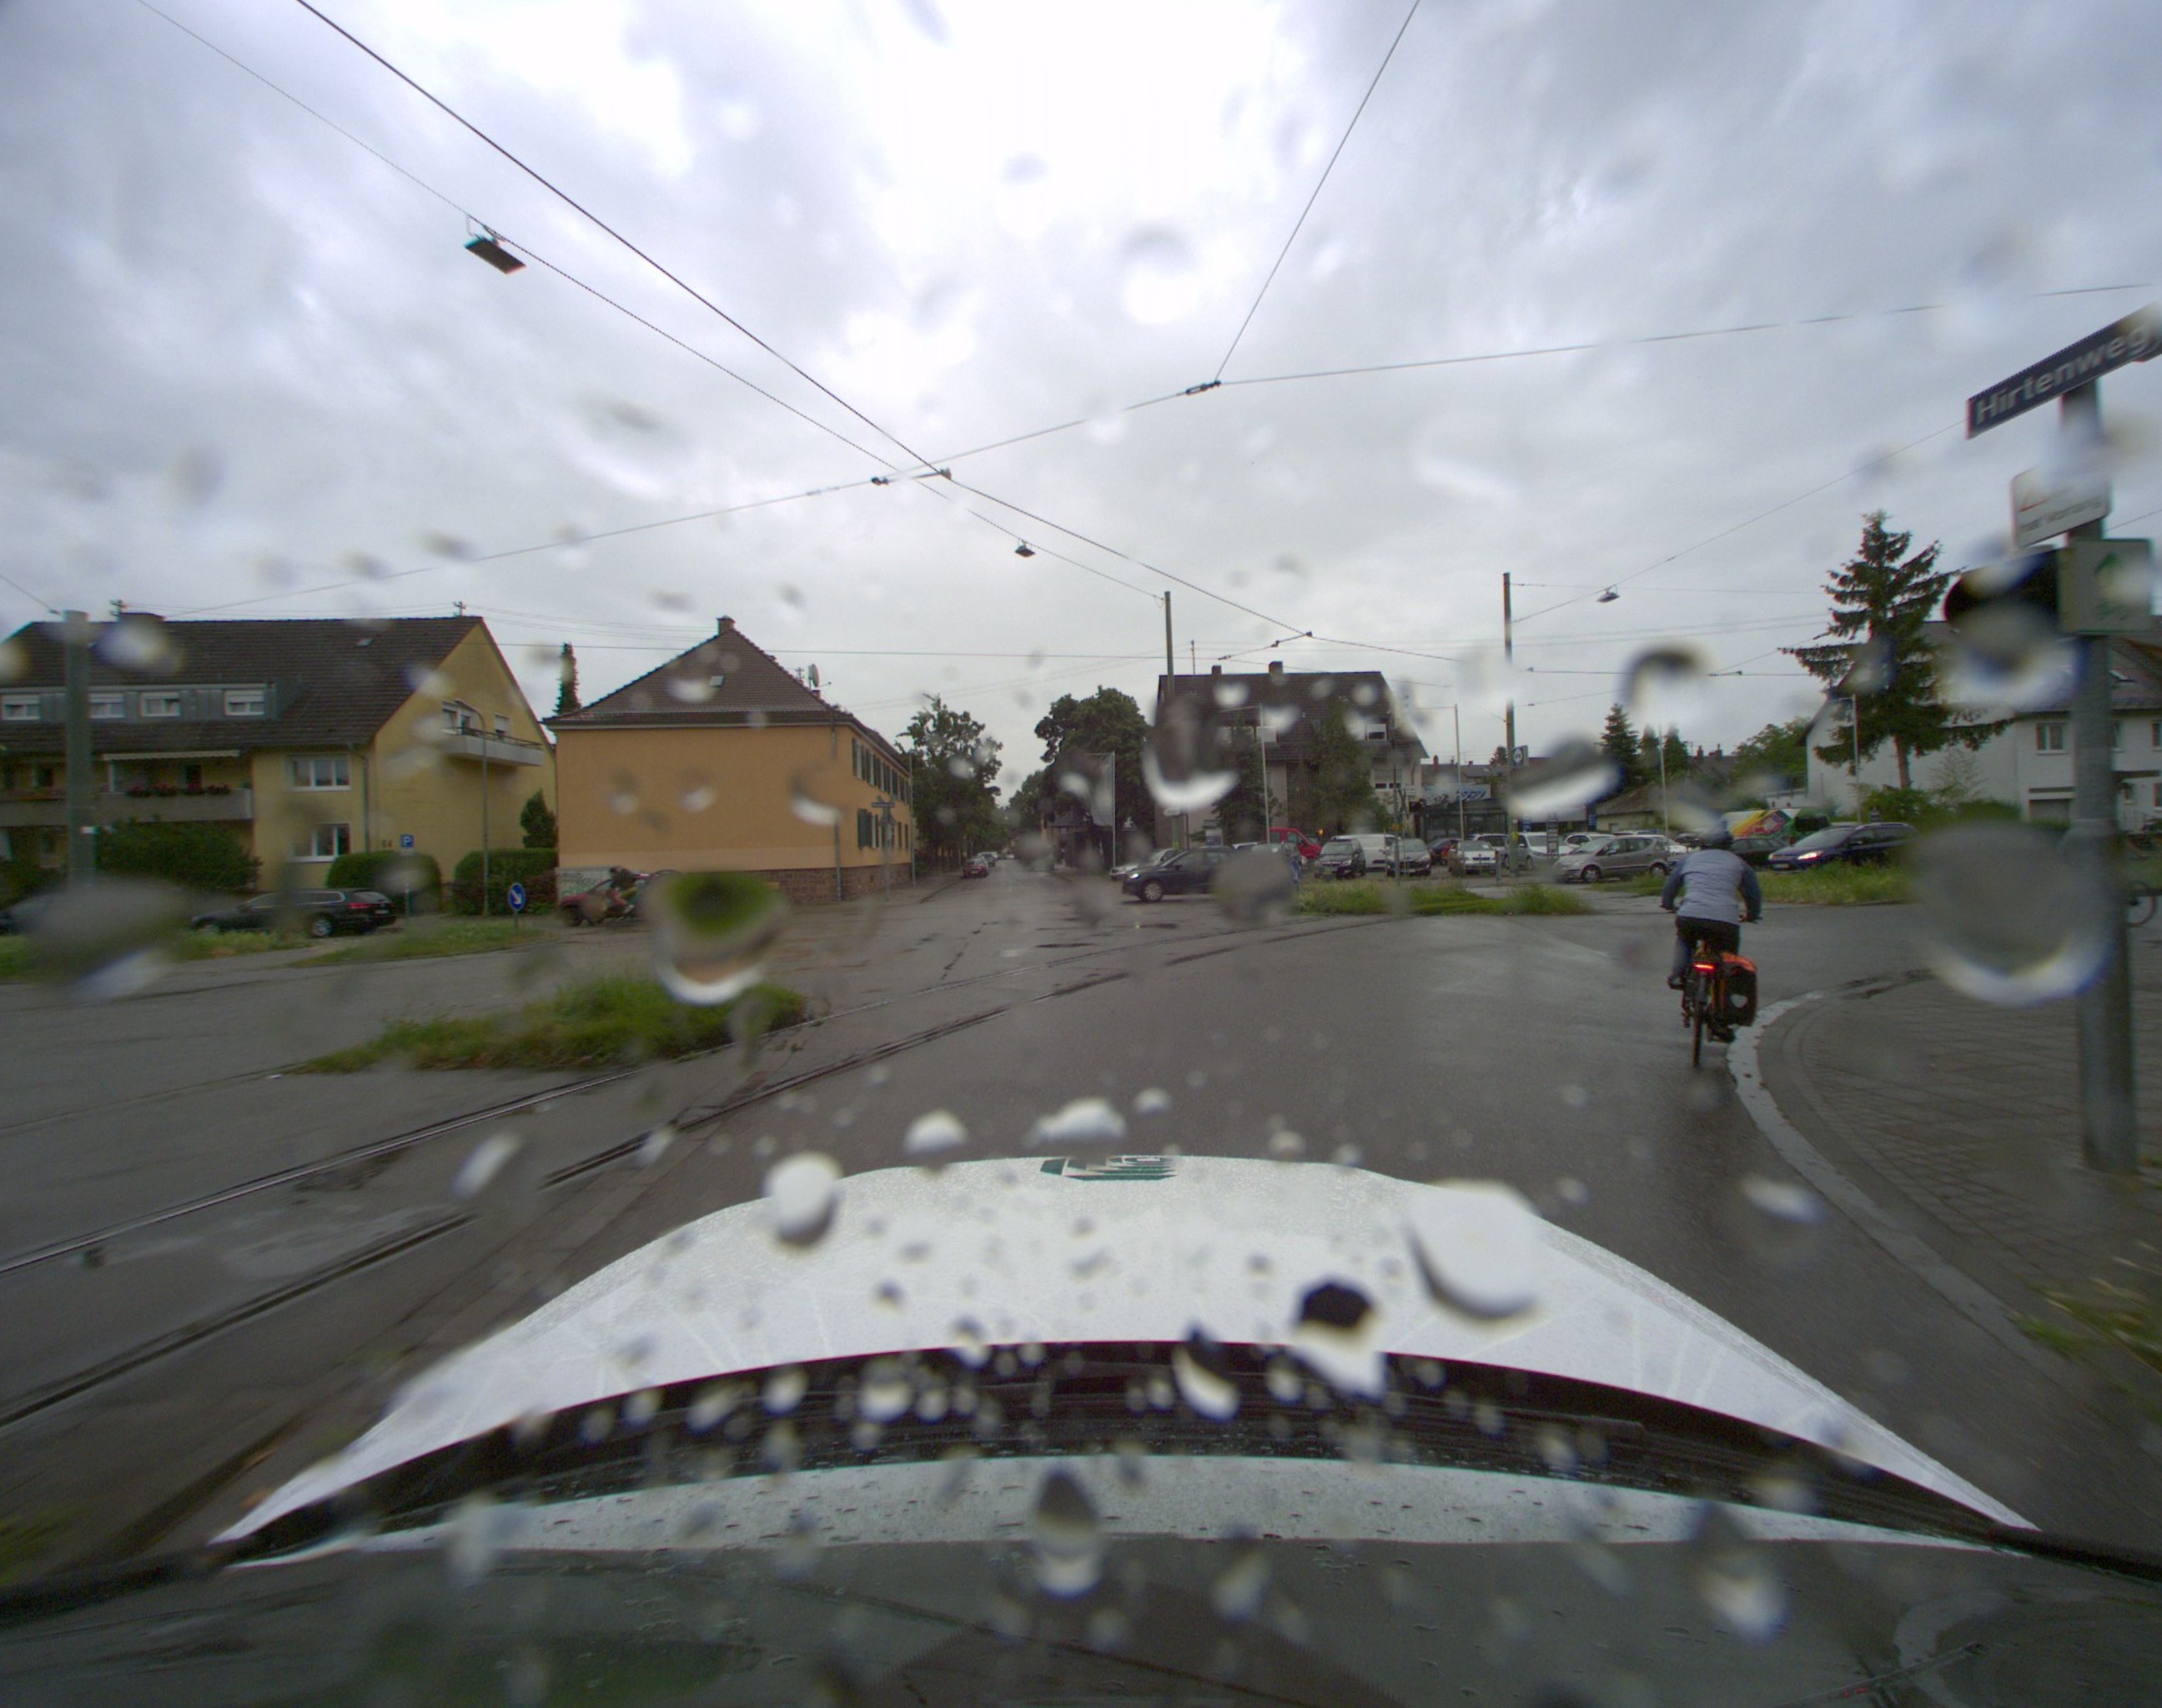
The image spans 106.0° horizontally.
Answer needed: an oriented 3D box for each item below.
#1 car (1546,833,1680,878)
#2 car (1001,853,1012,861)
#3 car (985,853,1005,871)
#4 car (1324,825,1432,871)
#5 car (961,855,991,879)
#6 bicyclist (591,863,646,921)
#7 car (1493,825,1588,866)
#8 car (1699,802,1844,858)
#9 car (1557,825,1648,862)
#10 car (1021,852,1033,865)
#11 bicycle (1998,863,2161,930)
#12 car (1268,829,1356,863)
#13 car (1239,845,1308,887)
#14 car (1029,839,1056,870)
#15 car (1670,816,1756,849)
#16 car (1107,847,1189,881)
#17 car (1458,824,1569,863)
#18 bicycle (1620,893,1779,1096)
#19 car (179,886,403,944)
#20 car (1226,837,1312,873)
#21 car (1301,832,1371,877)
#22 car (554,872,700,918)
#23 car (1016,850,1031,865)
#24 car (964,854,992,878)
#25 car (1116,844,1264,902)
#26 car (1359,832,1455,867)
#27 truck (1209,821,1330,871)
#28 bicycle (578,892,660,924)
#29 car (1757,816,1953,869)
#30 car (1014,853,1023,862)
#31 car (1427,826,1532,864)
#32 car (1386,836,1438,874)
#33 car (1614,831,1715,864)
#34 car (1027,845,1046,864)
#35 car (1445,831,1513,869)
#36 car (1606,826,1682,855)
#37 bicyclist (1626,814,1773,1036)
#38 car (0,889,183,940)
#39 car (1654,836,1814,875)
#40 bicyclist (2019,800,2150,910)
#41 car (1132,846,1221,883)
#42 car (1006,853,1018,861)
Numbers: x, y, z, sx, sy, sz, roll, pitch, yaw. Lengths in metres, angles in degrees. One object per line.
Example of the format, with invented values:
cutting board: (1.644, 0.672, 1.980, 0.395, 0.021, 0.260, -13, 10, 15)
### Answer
car: (18.368, 0.036, 28.206, 3.625, 1.504, 1.720, 0, 0, -4)
car: (-18.007, 0.730, 196.462, 1.834, 1.697, 4.005, 0, 0, -20)
car: (-9.815, 0.903, 93.108, 1.989, 2.013, 3.995, 0, 0, -3)
car: (14.240, -0.270, 39.270, 4.420, 2.014, 1.999, -2, -1, -1)
car: (-7.516, 0.910, 58.626, 1.991, 1.618, 3.992, -2, 0, -5)
bicyclist: (-13.546, 1.107, 23.873, 1.037, 1.598, 0.948, -3, 0, -5)
car: (19.783, -0.344, 35.277, 1.797, 1.578, 3.869, -3, 0, -2)
car: (31.494, -1.031, 37.400, 2.140, 2.406, 5.143, 0, 0, -3)
car: (22.742, -0.432, 35.659, 1.711, 1.573, 3.617, 0, 0, 0)
car: (-8.476, 0.671, 127.480, 1.826, 2.013, 3.992, 0, 0, -6)
bicycle: (15.008, 0.618, 12.104, 1.976, 0.912, 0.822, -1, -1, -6)
car: (13.069, -0.422, 46.238, 4.420, 1.687, 1.999, -2, -1, -1)
car: (8.261, 0.493, 34.767, 1.784, 1.578, 3.896, -3, 0, 29)
car: (-3.376, 0.043, 71.209, 2.150, 2.572, 4.125, 0, 0, -6)
car: (34.447, -1.176, 44.376, 4.407, 1.580, 1.850, -2, -1, -25)
car: (3.516, 0.507, 42.672, 3.876, 1.578, 1.794, -3, 0, -23)
car: (20.890, -0.477, 39.449, 4.420, 1.687, 1.759, -2, -1, -2)
bicycle: (4.468, 0.893, 5.861, 0.745, 1.073, 1.939, -3, 0, 39)
car: (-23.384, 1.781, 24.278, 4.484, 1.396, 1.963, -2, 0, -6)
car: (9.276, 0.055, 40.165, 3.935, 1.598, 2.009, -3, -1, 16)
car: (10.830, 0.002, 34.400, 1.974, 1.717, 4.025, -3, 0, 29)
car: (-14.191, 1.252, 25.617, 3.600, 1.339, 1.719, 0, 0, -6)
car: (-7.643, 0.438, 108.322, 1.826, 2.013, 3.992, 0, 0, -6)
car: (-7.947, 0.918, 63.292, 1.991, 1.750, 3.992, -2, 0, -5)
car: (3.159, 0.523, 24.109, 3.980, 1.476, 1.997, -2, 0, -5)
car: (17.718, -0.205, 44.393, 4.420, 1.687, 1.999, -2, -1, -1)
truck: (9.937, -0.377, 42.919, 6.036, 2.272, 2.009, -3, -1, 16)
bicycle: (-13.519, 1.573, 23.868, 1.811, 0.786, 0.941, -3, 0, -5)
car: (24.204, -0.344, 25.556, 4.551, 1.605, 1.996, 0, 0, -5)
car: (-13.269, 0.711, 172.958, 1.826, 2.013, 3.992, 0, 0, -6)
car: (20.500, -0.442, 41.991, 4.420, 1.687, 1.999, -2, -1, -1)
car: (14.077, 0.033, 34.506, 1.811, 1.504, 4.082, 0, 0, 25)
car: (25.469, -0.275, 35.698, 1.711, 1.396, 3.842, 0, 0, 0)
car: (-4.821, 0.075, 87.543, 1.989, 2.013, 3.995, 0, 0, -3)
car: (16.832, -0.171, 34.601, 1.814, 1.504, 4.074, 0, 0, 14)
car: (34.354, -0.833, 49.697, 4.454, 1.580, 1.779, -2, -1, -25)
bicyclist: (4.556, 0.475, 6.006, 0.743, 1.485, 0.852, -3, 0, 39)
car: (-29.103, 1.721, 23.573, 3.982, 1.332, 1.756, 0, 0, -7)
car: (22.788, 0.047, 28.526, 4.364, 1.339, 1.721, 0, 0, -3)
bicyclist: (14.895, 0.015, 12.110, 0.910, 1.558, 0.832, -1, -1, -6)
car: (4.623, 0.504, 39.613, 3.876, 1.578, 1.794, -3, 0, -23)
car: (-16.168, 0.725, 191.078, 1.834, 1.697, 4.005, 0, 0, -20)
